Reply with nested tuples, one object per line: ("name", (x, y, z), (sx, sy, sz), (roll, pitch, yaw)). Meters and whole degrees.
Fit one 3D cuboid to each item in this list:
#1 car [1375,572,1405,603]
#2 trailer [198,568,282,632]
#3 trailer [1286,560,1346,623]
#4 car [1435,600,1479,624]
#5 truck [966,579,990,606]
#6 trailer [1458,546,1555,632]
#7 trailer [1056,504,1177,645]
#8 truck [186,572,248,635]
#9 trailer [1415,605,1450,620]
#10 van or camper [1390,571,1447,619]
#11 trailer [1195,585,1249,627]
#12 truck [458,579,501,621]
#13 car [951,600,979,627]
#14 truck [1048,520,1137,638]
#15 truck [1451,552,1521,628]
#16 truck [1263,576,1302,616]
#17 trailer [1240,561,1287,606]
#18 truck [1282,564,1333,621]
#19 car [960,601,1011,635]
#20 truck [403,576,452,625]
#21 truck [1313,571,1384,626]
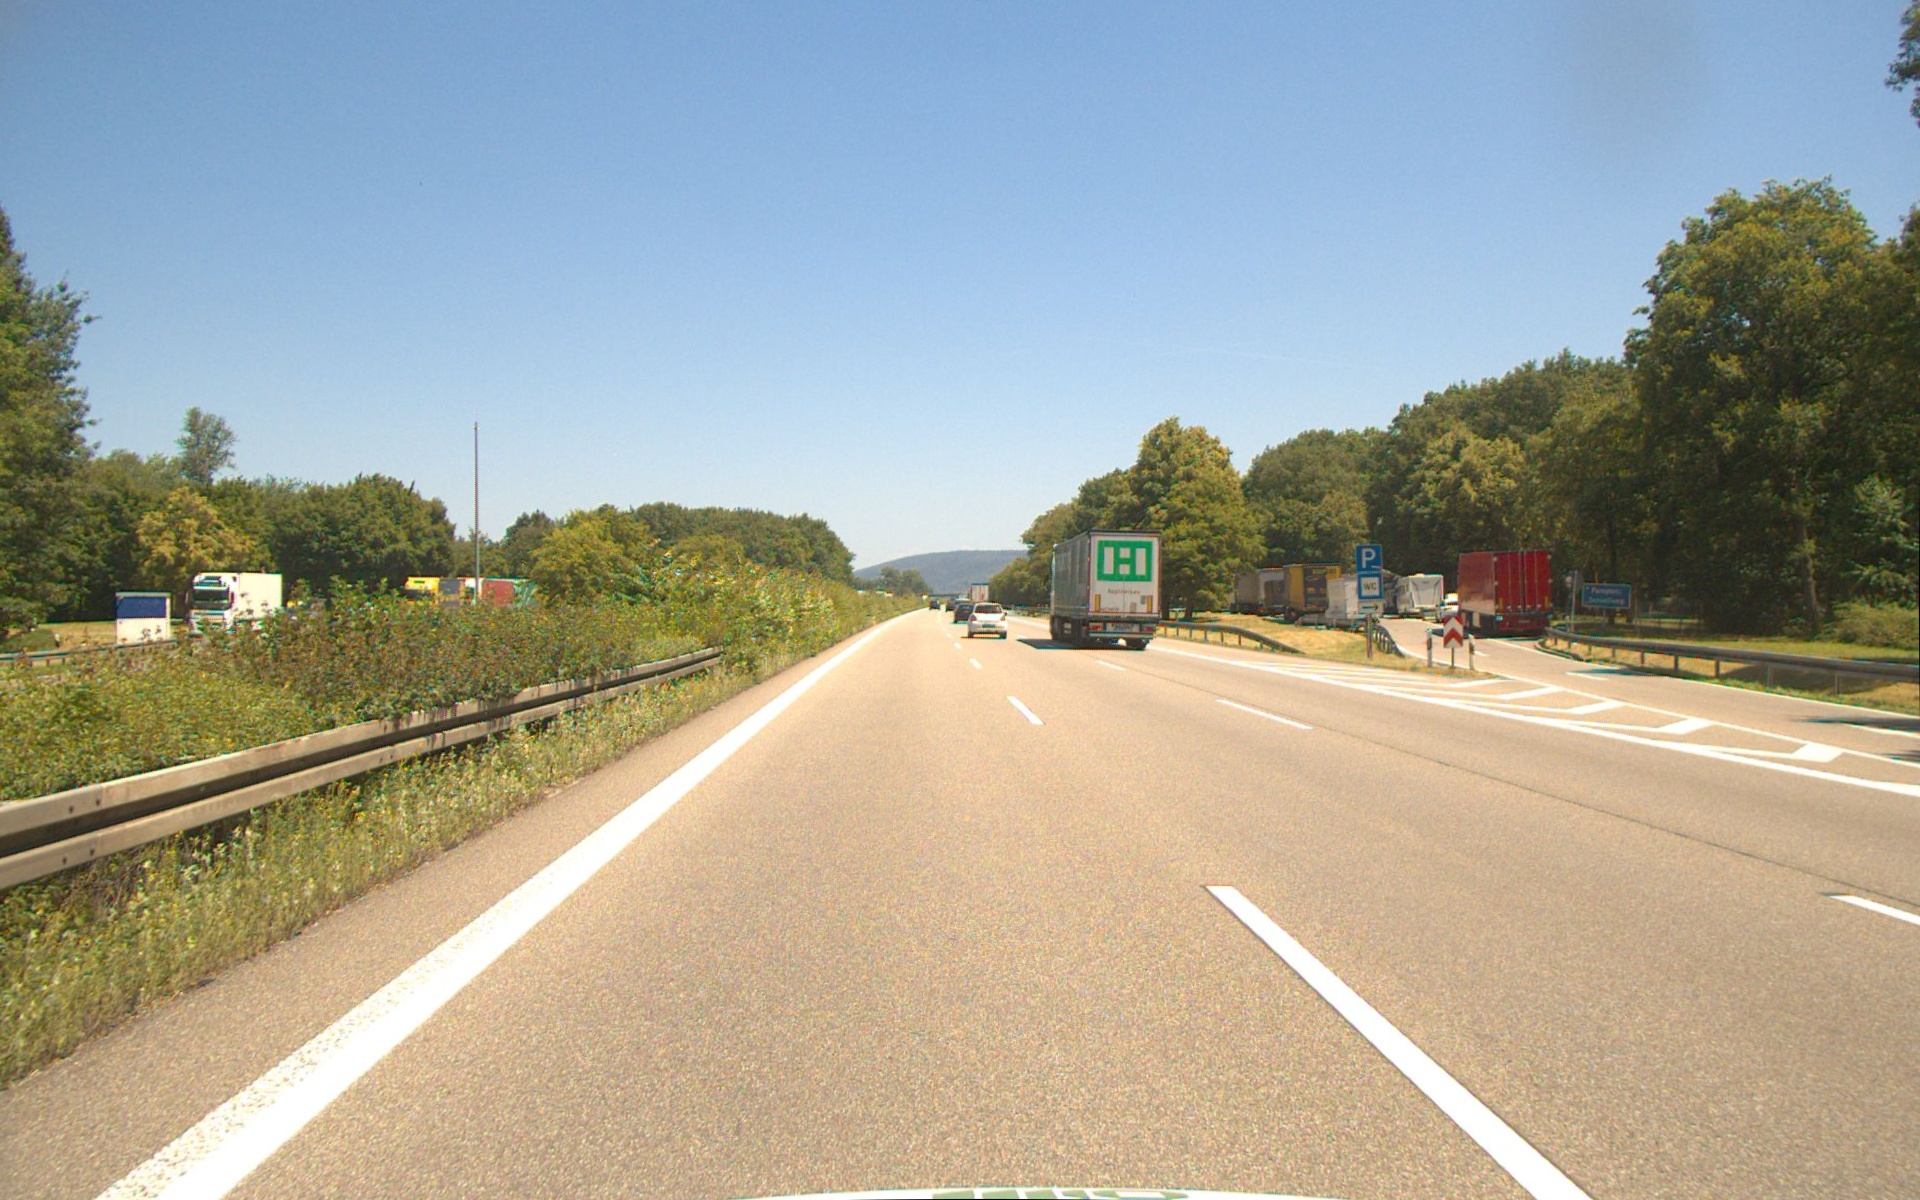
("car", (34.521, -0.985, 132.842), (1.951, 2.482, 4.784), (-1, 0, 11))
("trailer", (-48.096, 0.018, 110.915), (2.563, 4.041, 12.568), (0, 0, -11))
("trailer", (24.015, -0.531, 112.175), (3.116, 4.004, 11.559), (0, 0, 8))
("car", (30.989, 0.720, 103.214), (1.951, 1.476, 5.038), (0, 0, 8))
("truck", (2.586, -1.054, 240.808), (3.257, 3.822, 12.794), (1, 0, 0))
("trailer", (26.968, -0.485, 82.206), (2.915, 3.946, 12.899), (0, 0, 11))
("trailer", (5.593, -0.861, 61.325), (3.117, 4.708, 12.047), (0, 0, -1))
("truck", (-46.731, 0.230, 104.145), (2.563, 3.834, 4.677), (0, 0, -12))
("trailer", (31.484, 0.800, 110.238), (1.737, 0.975, 4.003), (0, 0, 8))
("van or camper", (32.719, -0.344, 118.343), (2.935, 3.291, 7.005), (0, 0, 7))
("trailer", (26.823, 0.603, 170.044), (3.071, 4.021, 14.193), (-1, 0, -1))
("truck", (-47.798, 0.020, 164.724), (2.560, 4.041, 9.984), (0, 0, -7))
("car", (0.393, 1.006, 121.437), (1.857, 1.926, 4.001), (-1, 0, 2))
("truck", (5.455, -0.841, 69.260), (3.117, 4.688, 5.946), (0, 0, -1))
("truck", (28.390, -0.519, 89.505), (2.915, 3.949, 6.423), (0, 0, 11))
("truck", (26.482, -0.302, 136.204), (2.416, 3.140, 6.621), (1, 0, 5))
("trailer", (27.332, -1.392, 149.287), (3.036, 3.856, 13.371), (1, 0, 6))
("truck", (25.037, -0.539, 119.276), (3.116, 4.004, 6.622), (0, 0, 8))
("car", (1.104, 0.788, 72.993), (1.777, 1.429, 3.312), (0, 0, -7))
("truck", (-45.988, 0.041, 143.146), (2.562, 4.041, 9.978), (0, 0, -9))
("truck", (22.129, -0.057, 94.466), (2.417, 2.997, 7.660), (0, 0, 1))
